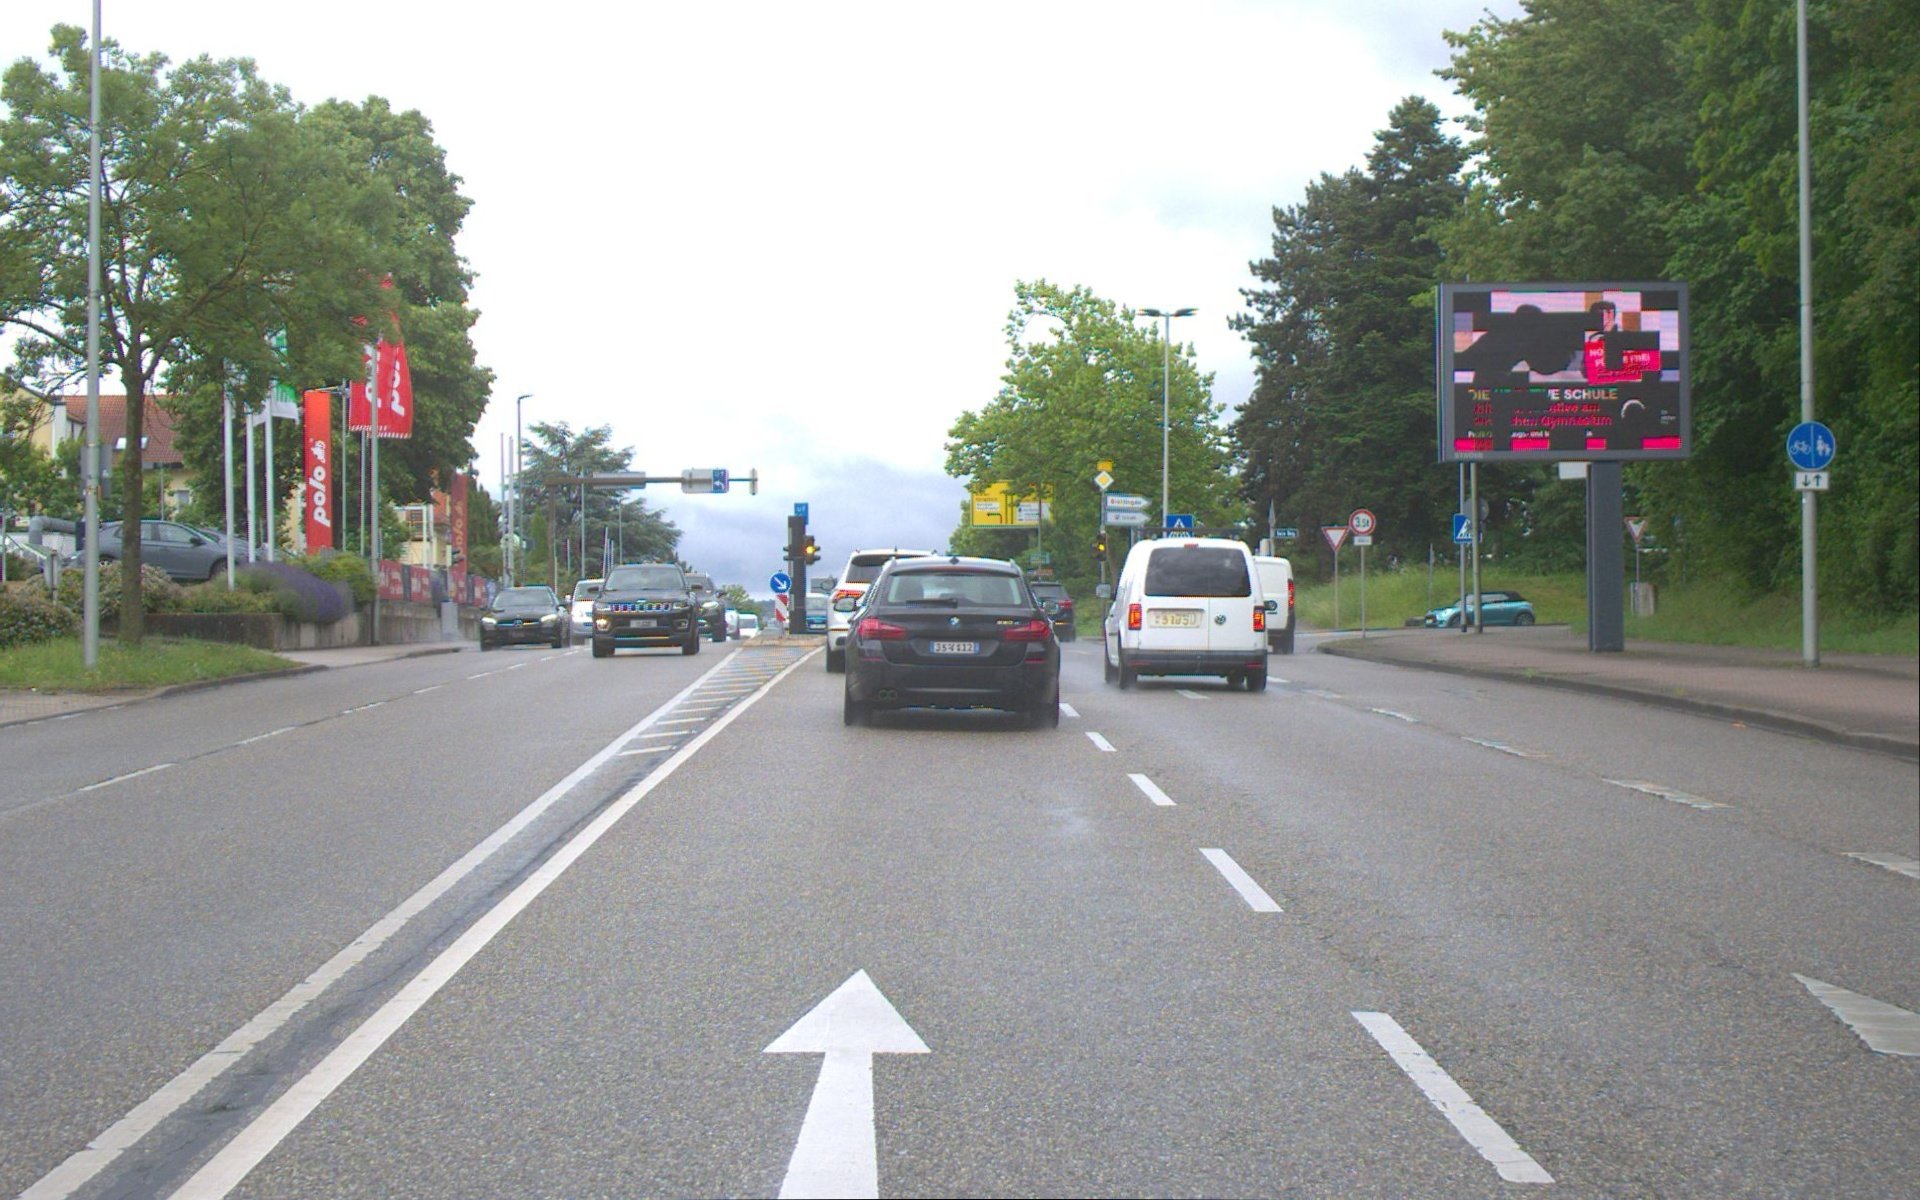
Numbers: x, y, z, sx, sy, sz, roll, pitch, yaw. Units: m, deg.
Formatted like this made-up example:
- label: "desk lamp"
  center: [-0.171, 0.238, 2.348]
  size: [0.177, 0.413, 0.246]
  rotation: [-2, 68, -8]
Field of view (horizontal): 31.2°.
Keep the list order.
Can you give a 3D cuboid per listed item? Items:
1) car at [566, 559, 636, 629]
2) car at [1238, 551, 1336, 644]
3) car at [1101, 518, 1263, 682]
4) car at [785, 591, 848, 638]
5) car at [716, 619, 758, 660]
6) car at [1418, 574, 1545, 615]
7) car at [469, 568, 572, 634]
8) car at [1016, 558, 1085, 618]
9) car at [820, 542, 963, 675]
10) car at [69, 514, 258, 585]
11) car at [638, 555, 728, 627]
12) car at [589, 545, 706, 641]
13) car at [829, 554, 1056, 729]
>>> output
- label: "car"
  center: [-10.612, -0.185, 101.957]
  size: [1.795, 1.976, 4.899]
  rotation: [-2, 0, -3]
- label: "car"
  center: [6.276, -0.076, 66.238]
  size: [1.814, 1.702, 3.945]
  rotation: [0, 1, 5]
- label: "car"
  center: [2.640, -0.023, 41.622]
  size: [1.741, 1.863, 3.946]
  rotation: [1, 1, 1]
- label: "car"
  center: [-4.680, 0.481, 111.511]
  size: [1.894, 1.451, 4.097]
  rotation: [-1, -1, -4]
- label: "car"
  center: [-10.598, 1.876, 163.783]
  size: [1.857, 1.817, 4.580]
  rotation: [-2, 0, -3]
- label: "car"
  center: [17.921, -0.199, 118.099]
  size: [3.986, 1.289, 1.609]
  rotation: [-2, 1, -19]
- label: "car"
  center: [-9.974, 0.005, 78.220]
  size: [1.793, 1.397, 4.300]
  rotation: [-2, 1, 0]
- label: "car"
  center: [2.184, -0.316, 83.617]
  size: [1.600, 1.367, 3.680]
  rotation: [-1, 1, 1]
- label: "car"
  center: [-0.899, 0.085, 46.734]
  size: [1.728, 1.705, 3.382]
  rotation: [1, 1, 2]
- label: "car"
  center: [-17.170, -1.078, 74.238]
  size: [3.825, 1.477, 1.742]
  rotation: [-1, 0, -8]
- label: "car"
  center: [-6.508, -0.218, 81.066]
  size: [1.822, 1.602, 4.284]
  rotation: [-2, 0, -1]
- label: "car"
  center: [-5.511, -0.155, 60.982]
  size: [1.795, 1.578, 4.199]
  rotation: [-1, 1, -2]
- label: "car"
  center: [-0.093, 0.321, 30.301]
  size: [1.855, 1.414, 3.956]
  rotation: [1, 1, 2]
